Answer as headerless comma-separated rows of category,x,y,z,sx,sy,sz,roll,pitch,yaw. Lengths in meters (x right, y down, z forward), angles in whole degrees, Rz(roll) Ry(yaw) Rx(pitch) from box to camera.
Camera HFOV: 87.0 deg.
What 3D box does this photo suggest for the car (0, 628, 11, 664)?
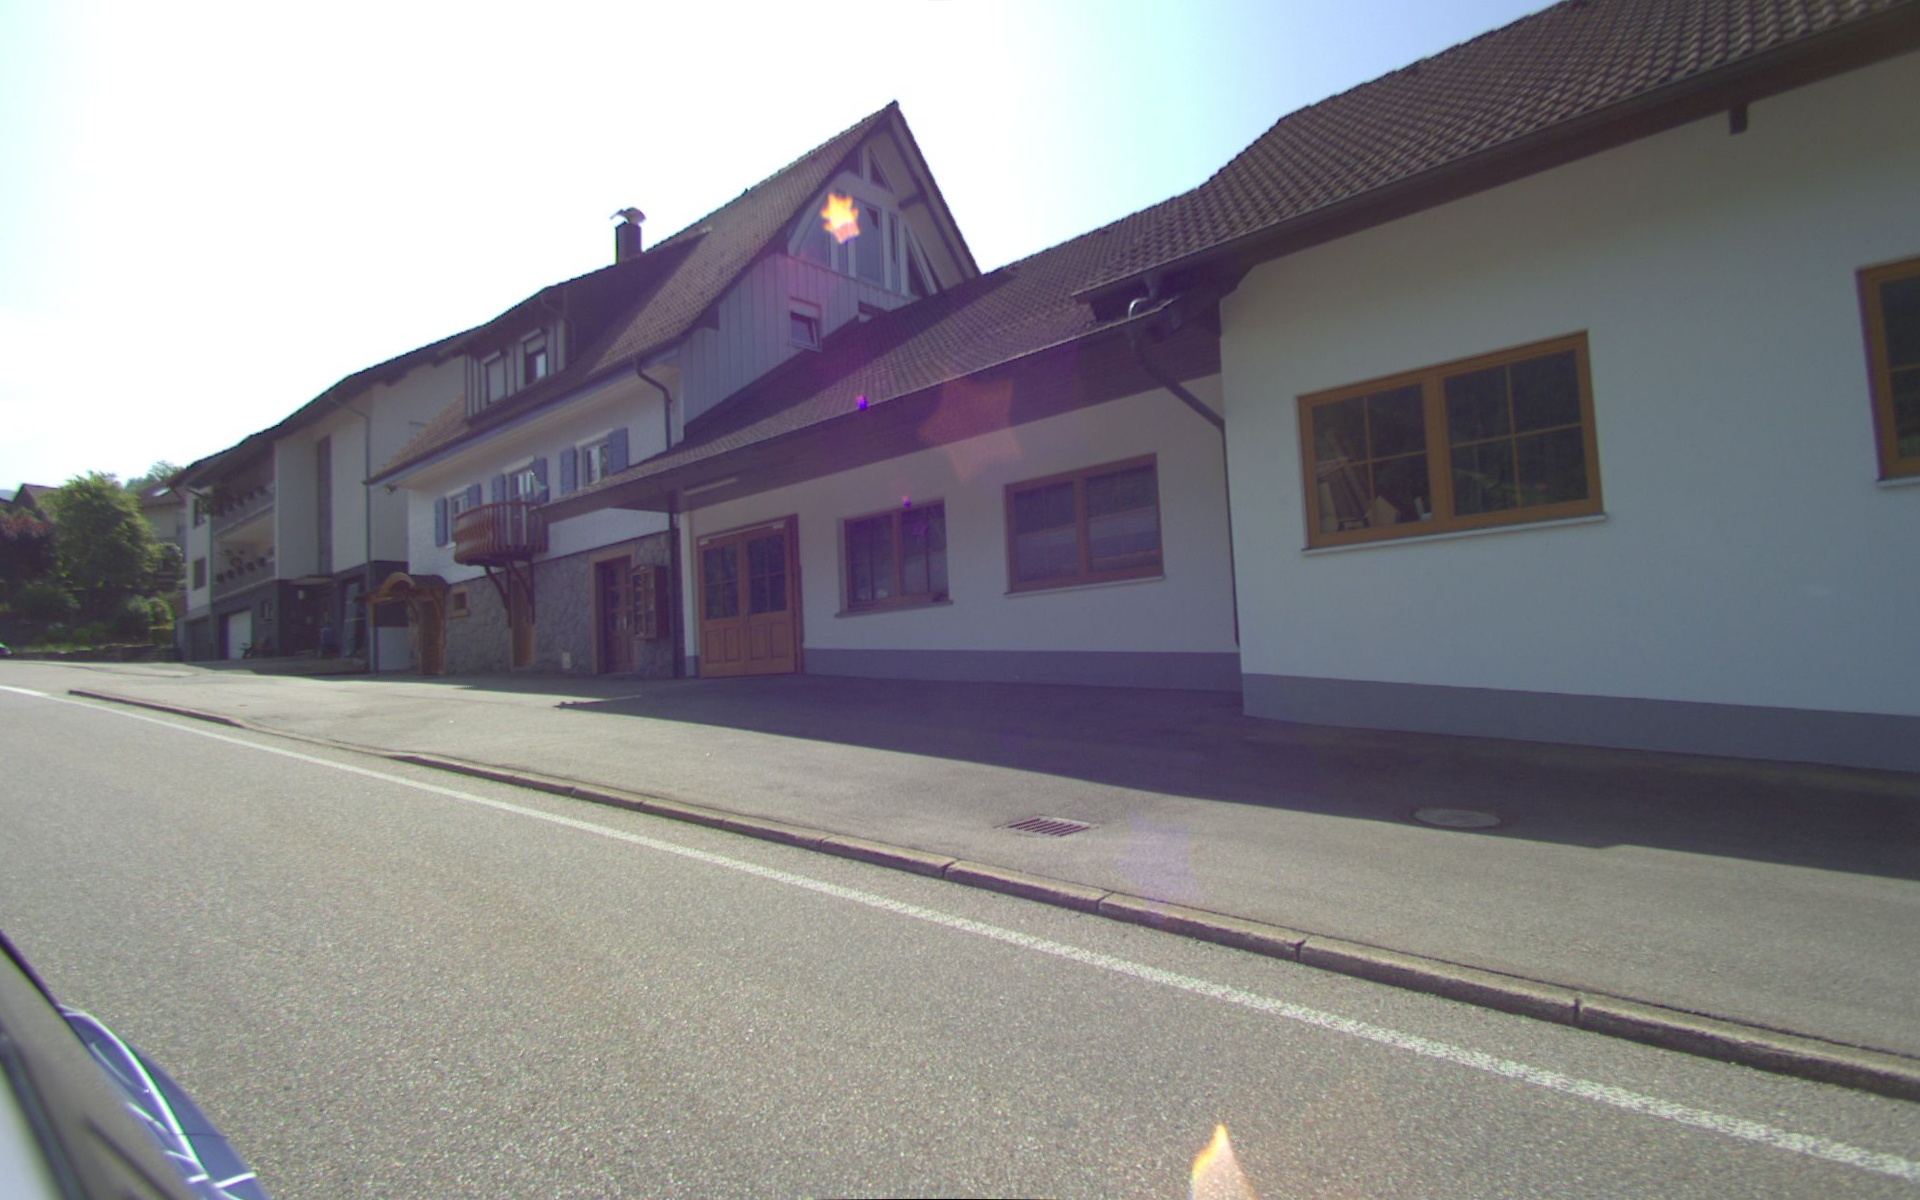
car,-38.410,1.728,38.578,4.671,1.349,1.772,-1,-2,27
